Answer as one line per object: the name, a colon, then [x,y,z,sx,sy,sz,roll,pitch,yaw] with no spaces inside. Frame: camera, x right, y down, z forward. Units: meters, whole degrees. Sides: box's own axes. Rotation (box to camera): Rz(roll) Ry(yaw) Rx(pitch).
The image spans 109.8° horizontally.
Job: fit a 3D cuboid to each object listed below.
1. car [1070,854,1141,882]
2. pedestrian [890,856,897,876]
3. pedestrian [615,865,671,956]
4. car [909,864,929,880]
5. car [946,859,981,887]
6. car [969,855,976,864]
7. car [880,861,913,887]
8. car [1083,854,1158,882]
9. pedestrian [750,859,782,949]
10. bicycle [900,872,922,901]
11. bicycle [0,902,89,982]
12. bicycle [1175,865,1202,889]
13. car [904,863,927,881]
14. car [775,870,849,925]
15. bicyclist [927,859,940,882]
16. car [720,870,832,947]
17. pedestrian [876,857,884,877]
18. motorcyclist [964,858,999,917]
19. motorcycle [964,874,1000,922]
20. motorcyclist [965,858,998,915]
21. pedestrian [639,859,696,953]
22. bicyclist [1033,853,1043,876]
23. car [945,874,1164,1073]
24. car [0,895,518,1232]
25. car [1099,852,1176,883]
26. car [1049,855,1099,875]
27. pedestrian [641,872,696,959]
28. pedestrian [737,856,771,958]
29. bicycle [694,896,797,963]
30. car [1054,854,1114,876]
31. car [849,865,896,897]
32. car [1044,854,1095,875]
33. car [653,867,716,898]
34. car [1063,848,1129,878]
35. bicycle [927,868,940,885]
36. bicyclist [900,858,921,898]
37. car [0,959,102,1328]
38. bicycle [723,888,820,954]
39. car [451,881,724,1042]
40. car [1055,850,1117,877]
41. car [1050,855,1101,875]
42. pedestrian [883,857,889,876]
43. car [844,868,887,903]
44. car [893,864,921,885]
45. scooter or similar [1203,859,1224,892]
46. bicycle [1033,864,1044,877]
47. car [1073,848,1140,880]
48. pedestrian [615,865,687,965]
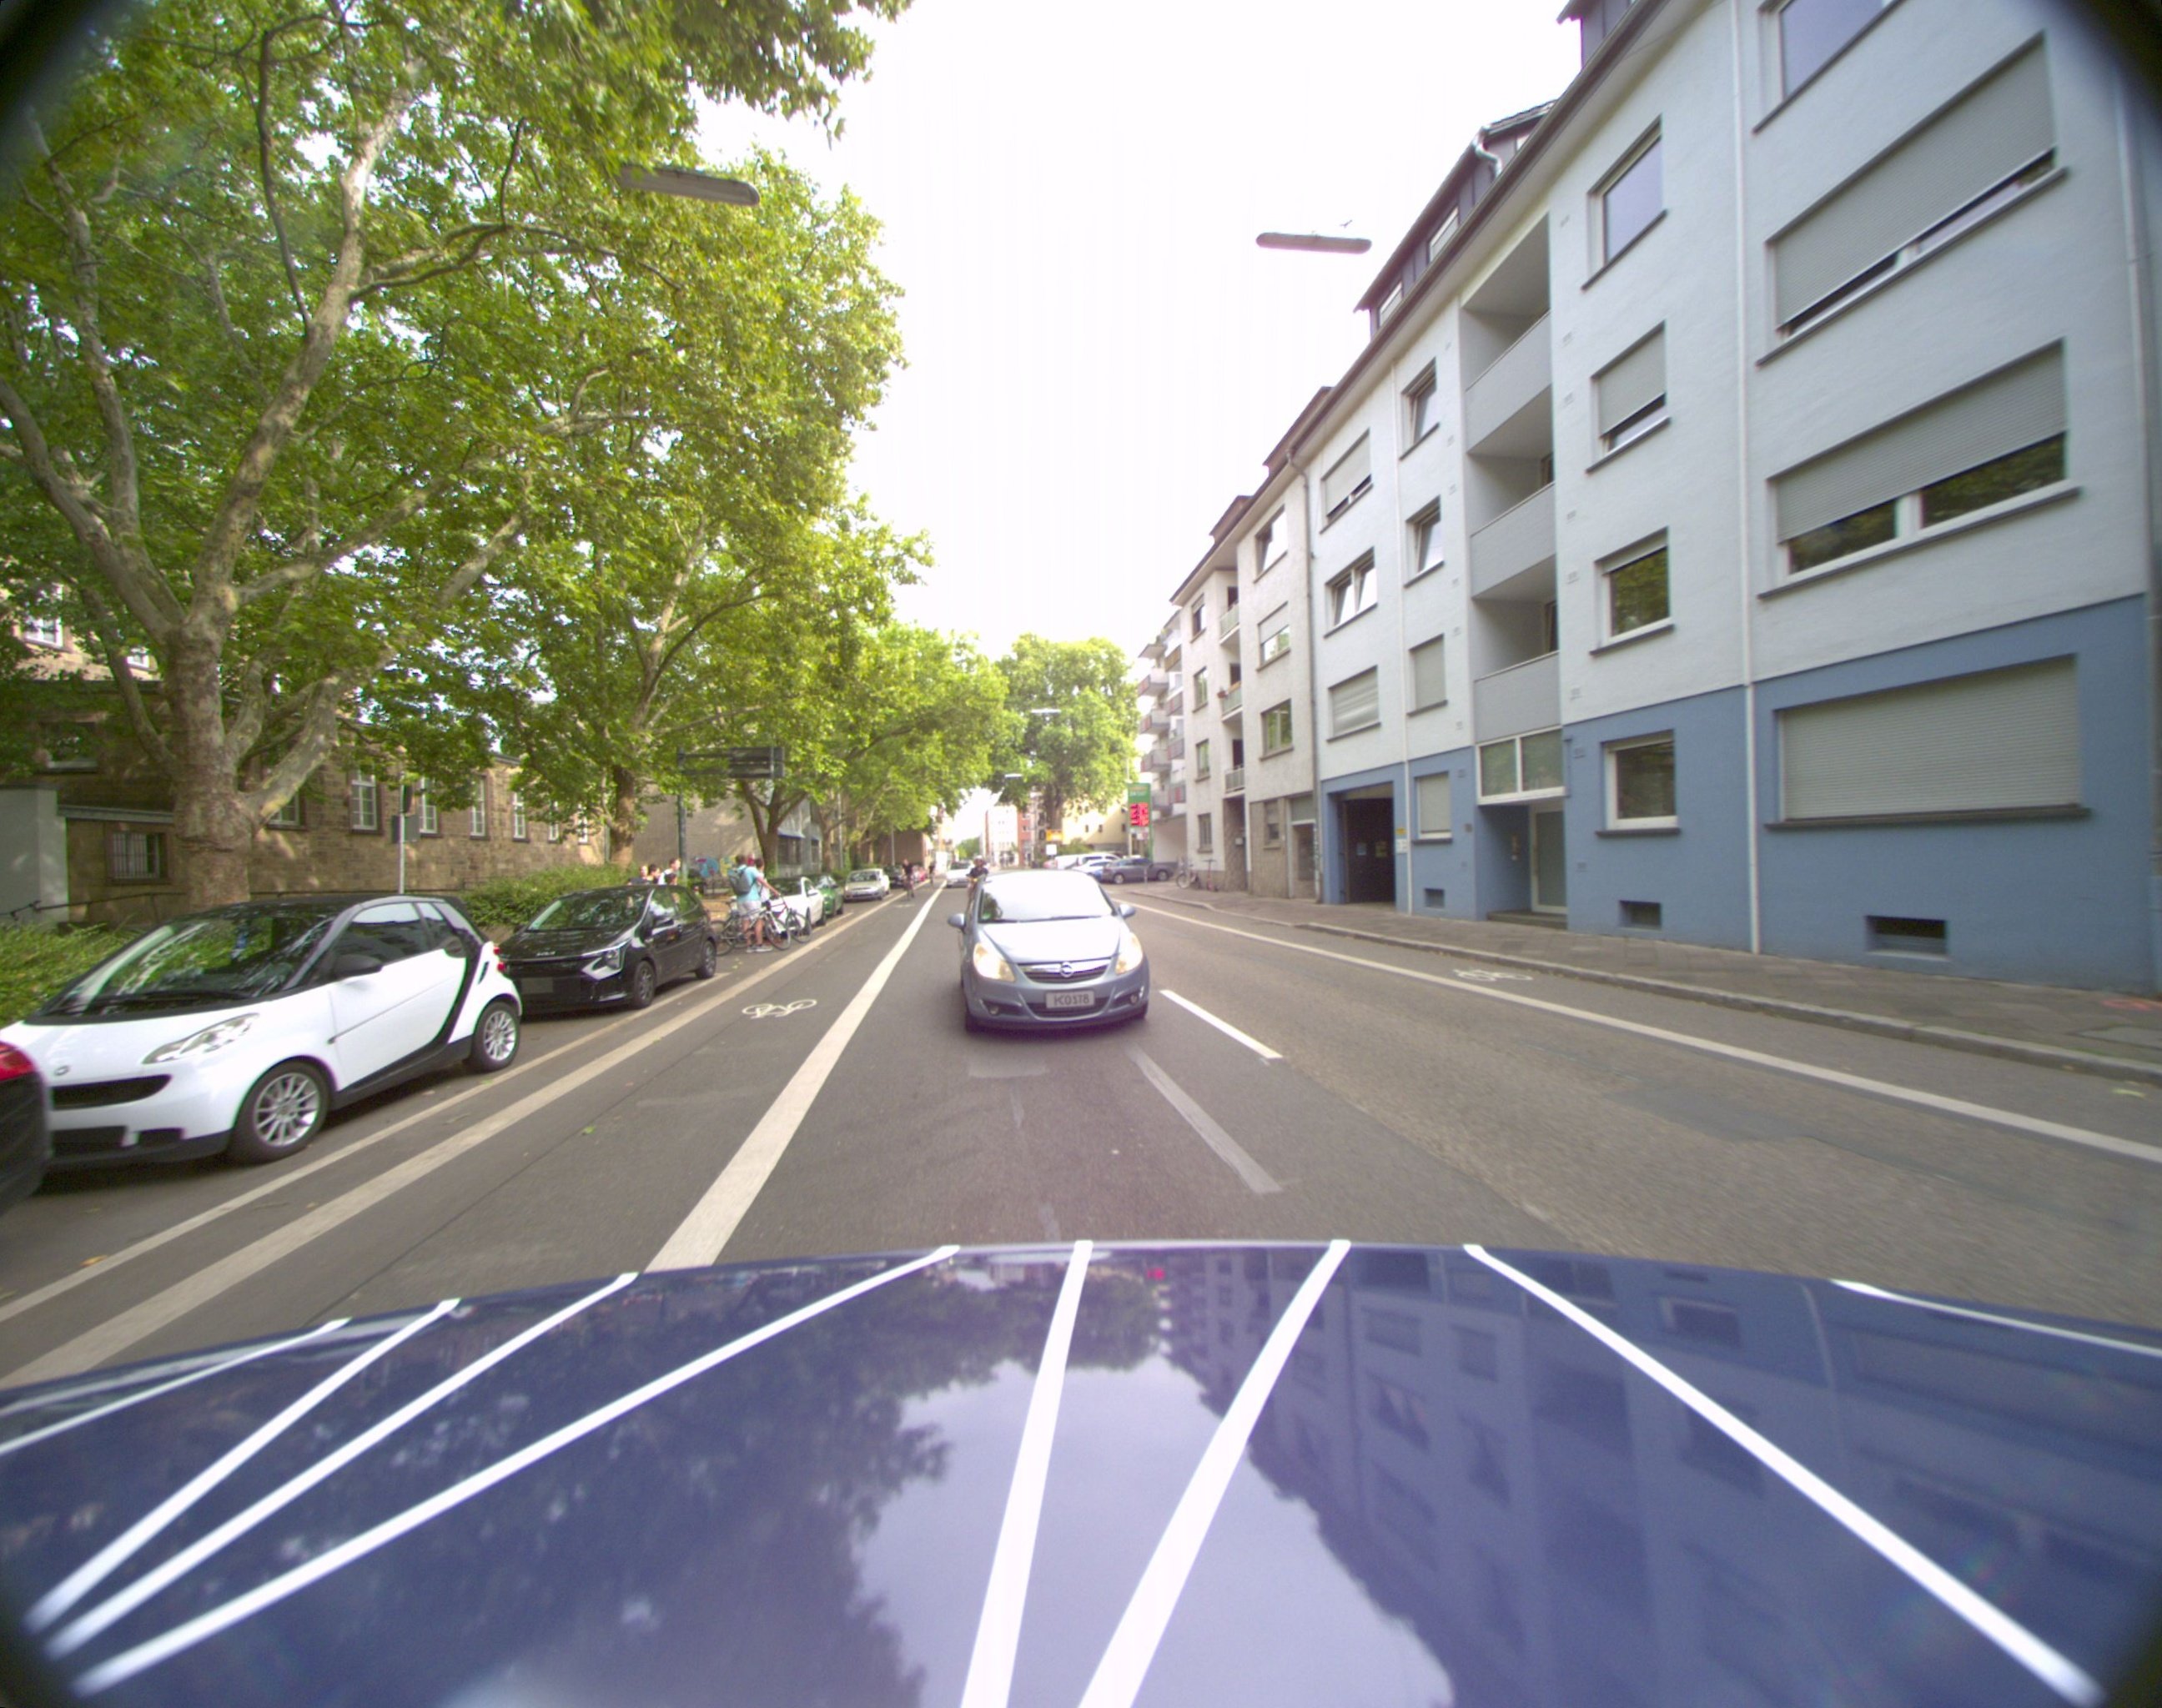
car: [1.546,0.908,49.527,4.285,1.442,1.873,-4,0,-8]
pedestrian: [-17.406,1.128,70.465,0.592,1.775,0.476,2,0,-10]
pedestrian: [-9.265,1.180,16.091,0.723,1.844,0.703,-3,1,-9]
car: [-15.779,1.723,74.083,1.604,1.438,4.102,-4,0,-8]
car: [-7.436,1.160,48.117,2.002,1.556,4.547,-2,0,-9]
car: [-31.124,1.614,217.457,2.000,2.546,4.795,-2,0,-8]
car: [-12.954,1.397,53.482,1.927,1.612,4.477,-4,0,-10]
car: [2.421,0.864,47.370,4.314,1.442,1.909,-4,0,-8]
pedestrian: [-6.717,1.046,16.211,0.522,1.834,0.743,-3,1,-24]
bicycle: [-7.449,1.405,33.336,0.764,1.162,1.948,-3,0,-8]
bicycle: [-15.990,1.300,11.164,1.680,1.111,0.604,-1,0,-15]
bicycle: [4.436,0.935,31.534,0.599,0.945,1.661,-3,0,-9]
car: [-15.007,1.604,68.959,1.604,1.496,4.437,-4,0,-8]
car: [-8.517,1.313,24.345,1.592,1.441,3.802,-4,1,-11]
bicyclist: [-10.688,1.183,55.062,0.749,1.590,0.818,-3,1,-8]
car: [-7.558,1.264,19.248,1.686,1.507,4.540,-4,1,-11]
pedestrian: [-18.597,1.177,70.246,0.644,1.823,0.645,2,0,-10]
motorcyclist: [-2.841,0.940,21.677,0.905,1.608,0.691,-2,1,-8]
motorcycle: [-2.837,1.218,21.675,0.905,1.190,2.628,-2,0,-8]
motorcyclist: [-2.927,0.937,22.381,0.905,1.608,0.691,-2,1,-8]
pedestrian: [-9.140,1.122,16.815,0.795,1.986,0.749,-3,1,-9]
bicyclist: [-3.366,0.830,59.530,0.654,1.800,1.045,-3,1,-9]
car: [-0.516,1.000,8.208,1.718,1.412,4.250,-2,0,-9]
car: [-5.546,1.165,5.194,1.540,1.534,2.597,-3,0,-6]
car: [3.349,0.785,45.181,4.164,1.504,1.836,-4,0,-8]
car: [-0.691,0.989,70.429,4.375,1.540,1.731,-4,0,-8]
pedestrian: [-8.286,1.218,15.287,0.723,1.648,0.654,-3,1,-9]
pedestrian: [-6.432,1.019,14.967,0.476,1.923,0.743,-3,1,-20]
bicycle: [-6.446,1.436,14.693,1.741,1.099,0.551,-3,1,-20]
car: [0.203,0.929,63.873,4.720,1.461,1.873,-4,0,-8]
car: [-10.967,1.388,40.196,1.760,1.439,4.215,-4,0,-8]
car: [-1.122,0.992,72.703,4.532,1.596,1.753,-4,0,-8]
car: [-20.437,1.486,39.341,1.674,1.441,4.295,-2,-2,-10]
car: [1.122,0.670,59.055,4.782,1.923,1.992,-4,0,-8]
bicycle: [-10.677,1.601,55.058,0.764,1.162,1.948,-3,0,-8]
bicyclist: [-7.478,1.028,33.422,0.765,1.699,0.917,-3,1,-8]
car: [-4.790,1.205,1.025,1.703,1.417,4.417,-3,0,-11]
bicycle: [-6.494,1.379,15.981,1.797,1.210,0.552,-3,1,-26]
car: [-6.122,1.205,9.960,1.533,1.493,3.657,-3,0,-9]
car: [0.360,0.753,61.431,4.630,1.848,1.948,-4,0,-8]
car: [-0.505,0.999,68.560,4.279,1.502,1.718,-4,0,-8]
pedestrian: [-18.051,1.147,70.370,0.503,1.775,0.527,2,0,-10]
car: [-10.064,1.430,35.672,1.648,1.439,3.878,-4,0,-13]
car: [-13.516,1.545,59.153,1.645,1.424,4.570,-4,0,-8]
scooter or similar: [5.027,0.798,28.890,0.351,1.214,1.201,-3,0,-9]
bicycle: [-3.367,1.292,59.687,0.648,1.008,2.075,-3,1,-9]
car: [1.756,0.679,52.306,4.224,1.837,1.923,-4,0,-8]
pedestrian: [-8.192,1.141,14.515,0.873,1.806,0.779,-3,1,-9]
